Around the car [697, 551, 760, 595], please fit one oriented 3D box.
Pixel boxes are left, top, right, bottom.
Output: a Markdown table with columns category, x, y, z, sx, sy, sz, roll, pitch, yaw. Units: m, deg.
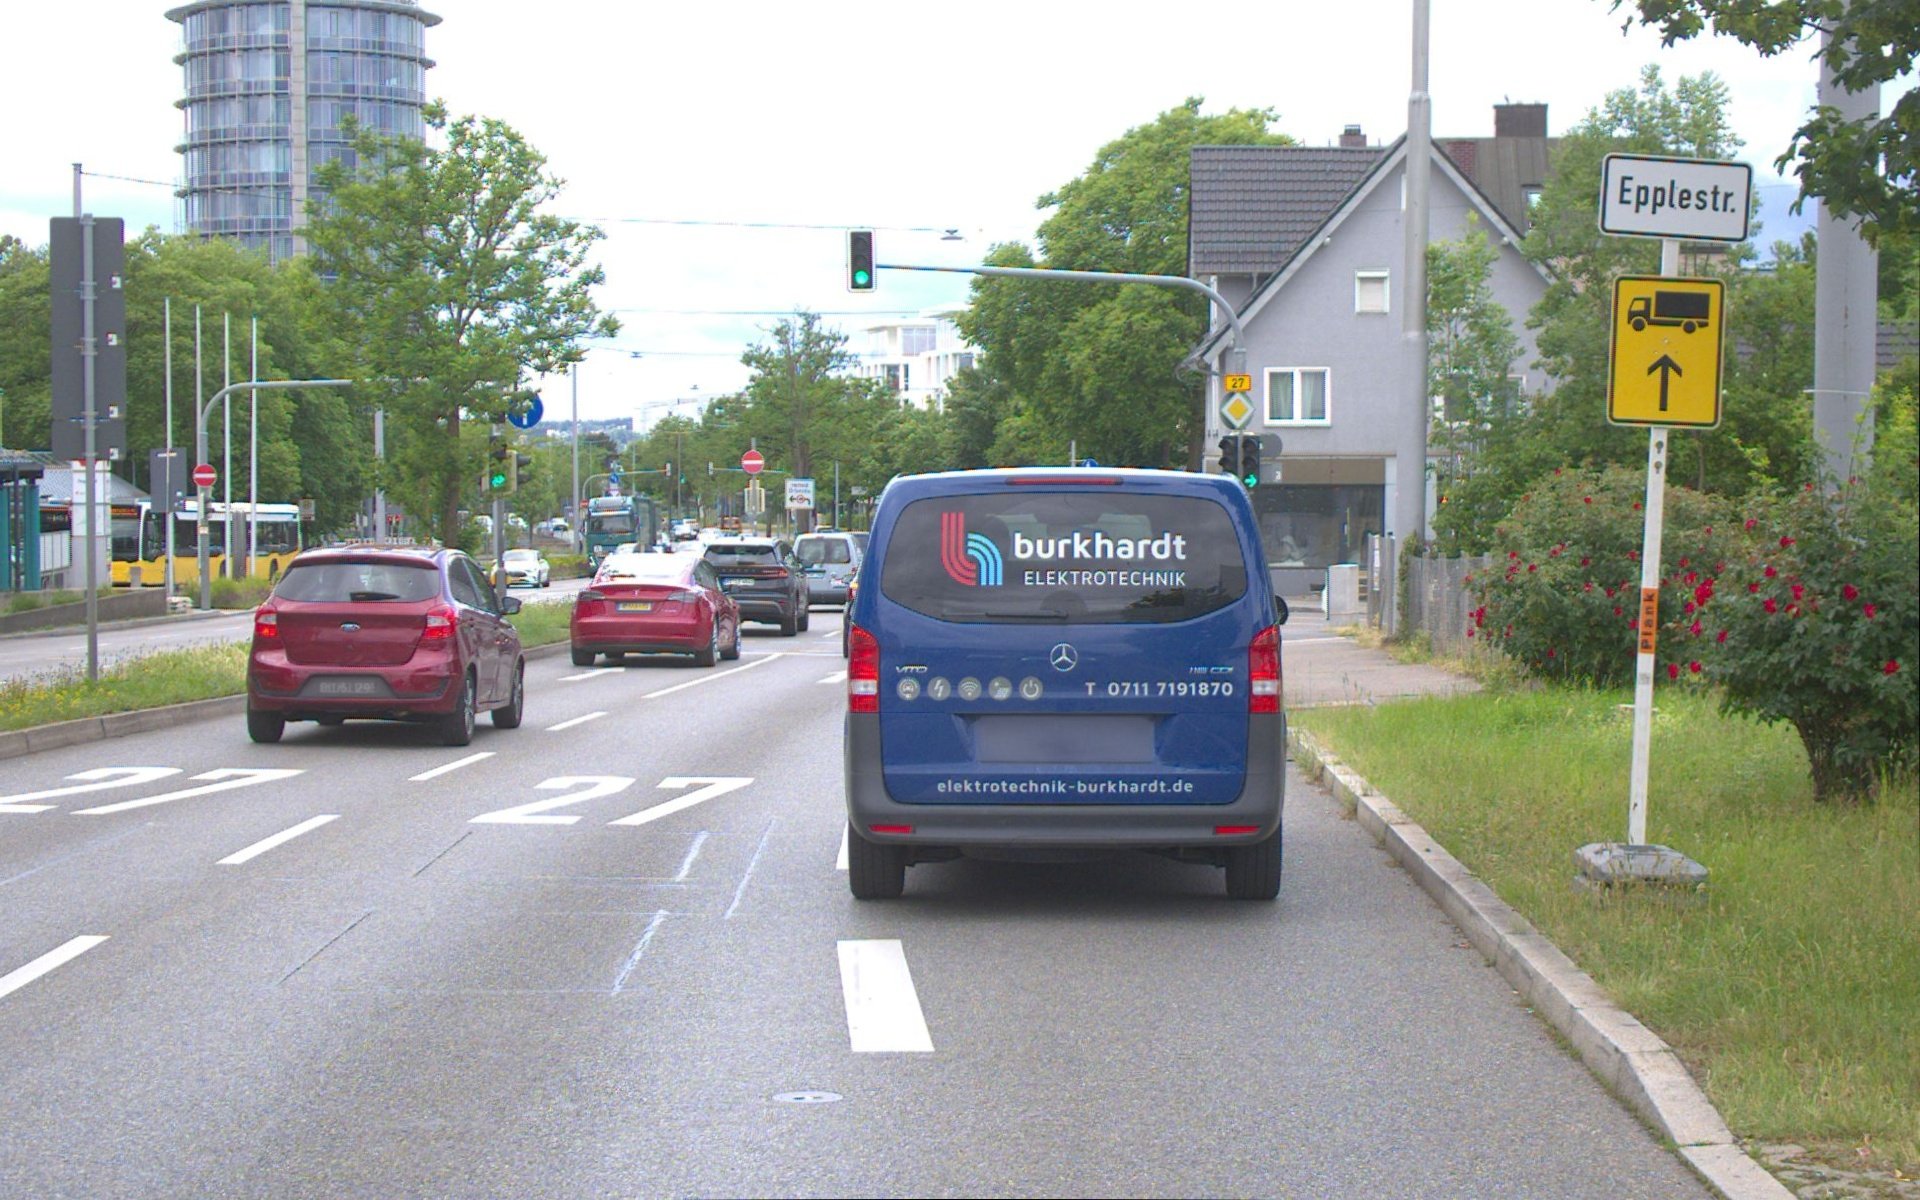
| category | x | y | z | sx | sy | sz | roll | pitch | yaw |
| --- | --- | --- | --- | --- | --- | --- | --- | --- | --- |
| car | -10.815 | -1.256 | 160.976 | 1.994 | 2.007 | 4.177 | 0 | 1 | 10 |

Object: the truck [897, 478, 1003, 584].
| category | x | y | z | sx | sy | sz | roll | pitch | yaw |
| --- | --- | --- | --- | --- | --- | --- | --- | --- | --- |
| truck | -0.173 | -1.480 | 74.693 | 1.994 | 2.158 | 5.559 | 2 | 1 | 2 |

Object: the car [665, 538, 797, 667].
| category | x | y | z | sx | sy | sz | roll | pitch | yaw |
| --- | --- | --- | --- | --- | --- | --- | --- | --- | --- |
| car | -3.919 | 0.009 | 58.351 | 1.993 | 2.006 | 4.001 | 1 | 2 | -7 |

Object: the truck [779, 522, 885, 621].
| category | x | y | z | sx | sy | sz | roll | pitch | yaw |
| --- | --- | --- | --- | --- | --- | --- | --- | --- | --- |
| truck | -2.939 | -0.687 | 80.226 | 1.994 | 2.158 | 5.559 | 2 | 1 | 2 |

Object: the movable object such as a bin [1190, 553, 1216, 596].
| category | x | y | z | sx | sy | sz | roll | pitch | yaw |
| --- | --- | --- | --- | --- | --- | --- | --- | --- | --- |
| movable object such as a bin | 6.264 | -0.667 | 88.631 | 0.597 | 1.097 | 0.573 | 0 | 1 | -6 |

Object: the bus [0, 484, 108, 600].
| category | x | y | z | sx | sy | sz | roll | pitch | yaw |
| --- | --- | --- | --- | --- | --- | --- | --- | --- | --- |
| bus | -27.057 | -1.592 | 94.523 | 2.957 | 3.122 | 12.157 | 1 | 1 | 7 |

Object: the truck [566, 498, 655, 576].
| category | x | y | z | sx | sy | sz | roll | pitch | yaw |
| --- | --- | --- | --- | --- | --- | --- | --- | --- | --- |
| truck | -17.380 | -3.107 | 171.509 | 3.368 | 3.714 | 11.281 | 1 | 1 | -1 |

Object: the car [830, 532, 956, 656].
| category | x | y | z | sx | sy | sz | roll | pitch | yaw |
| --- | --- | --- | --- | --- | --- | --- | --- | --- | --- |
| car | -0.961 | -0.119 | 49.707 | 1.746 | 1.717 | 4.000 | 0 | 1 | -1 |

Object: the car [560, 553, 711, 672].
| category | x | y | z | sx | sy | sz | roll | pitch | yaw |
| --- | --- | --- | --- | --- | --- | --- | --- | --- | --- |
| car | -4.292 | 0.183 | 45.083 | 1.868 | 1.481 | 4.001 | 0 | -1 | -7 |

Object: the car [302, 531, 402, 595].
| category | x | y | z | sx | sy | sz | roll | pitch | yaw |
| --- | --- | --- | --- | --- | --- | --- | --- | --- | --- |
| car | -16.723 | -1.038 | 94.743 | 1.748 | 1.512 | 4.000 | -8 | 1 | 2 |

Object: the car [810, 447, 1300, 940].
| category | x | y | z | sx | sy | sz | roll | pitch | yaw |
| --- | --- | --- | --- | --- | --- | --- | --- | --- | --- |
| car | 0.410 | 0.350 | 16.137 | 1.948 | 1.959 | 4.541 | 1 | 1 | 1 |

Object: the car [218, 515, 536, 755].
| category | x | y | z | sx | sy | sz | roll | pitch | yaw |
| --- | --- | --- | --- | --- | --- | --- | --- | --- | --- |
| car | -4.543 | 0.224 | 27.331 | 1.746 | 1.717 | 4.000 | 2 | 1 | 1 |

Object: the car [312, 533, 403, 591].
| category | x | y | z | sx | sy | sz | roll | pitch | yaw |
| --- | --- | --- | --- | --- | --- | --- | --- | --- | --- |
| car | -16.575 | -1.053 | 94.786 | 1.624 | 1.568 | 4.000 | 0 | 1 | 3 |
